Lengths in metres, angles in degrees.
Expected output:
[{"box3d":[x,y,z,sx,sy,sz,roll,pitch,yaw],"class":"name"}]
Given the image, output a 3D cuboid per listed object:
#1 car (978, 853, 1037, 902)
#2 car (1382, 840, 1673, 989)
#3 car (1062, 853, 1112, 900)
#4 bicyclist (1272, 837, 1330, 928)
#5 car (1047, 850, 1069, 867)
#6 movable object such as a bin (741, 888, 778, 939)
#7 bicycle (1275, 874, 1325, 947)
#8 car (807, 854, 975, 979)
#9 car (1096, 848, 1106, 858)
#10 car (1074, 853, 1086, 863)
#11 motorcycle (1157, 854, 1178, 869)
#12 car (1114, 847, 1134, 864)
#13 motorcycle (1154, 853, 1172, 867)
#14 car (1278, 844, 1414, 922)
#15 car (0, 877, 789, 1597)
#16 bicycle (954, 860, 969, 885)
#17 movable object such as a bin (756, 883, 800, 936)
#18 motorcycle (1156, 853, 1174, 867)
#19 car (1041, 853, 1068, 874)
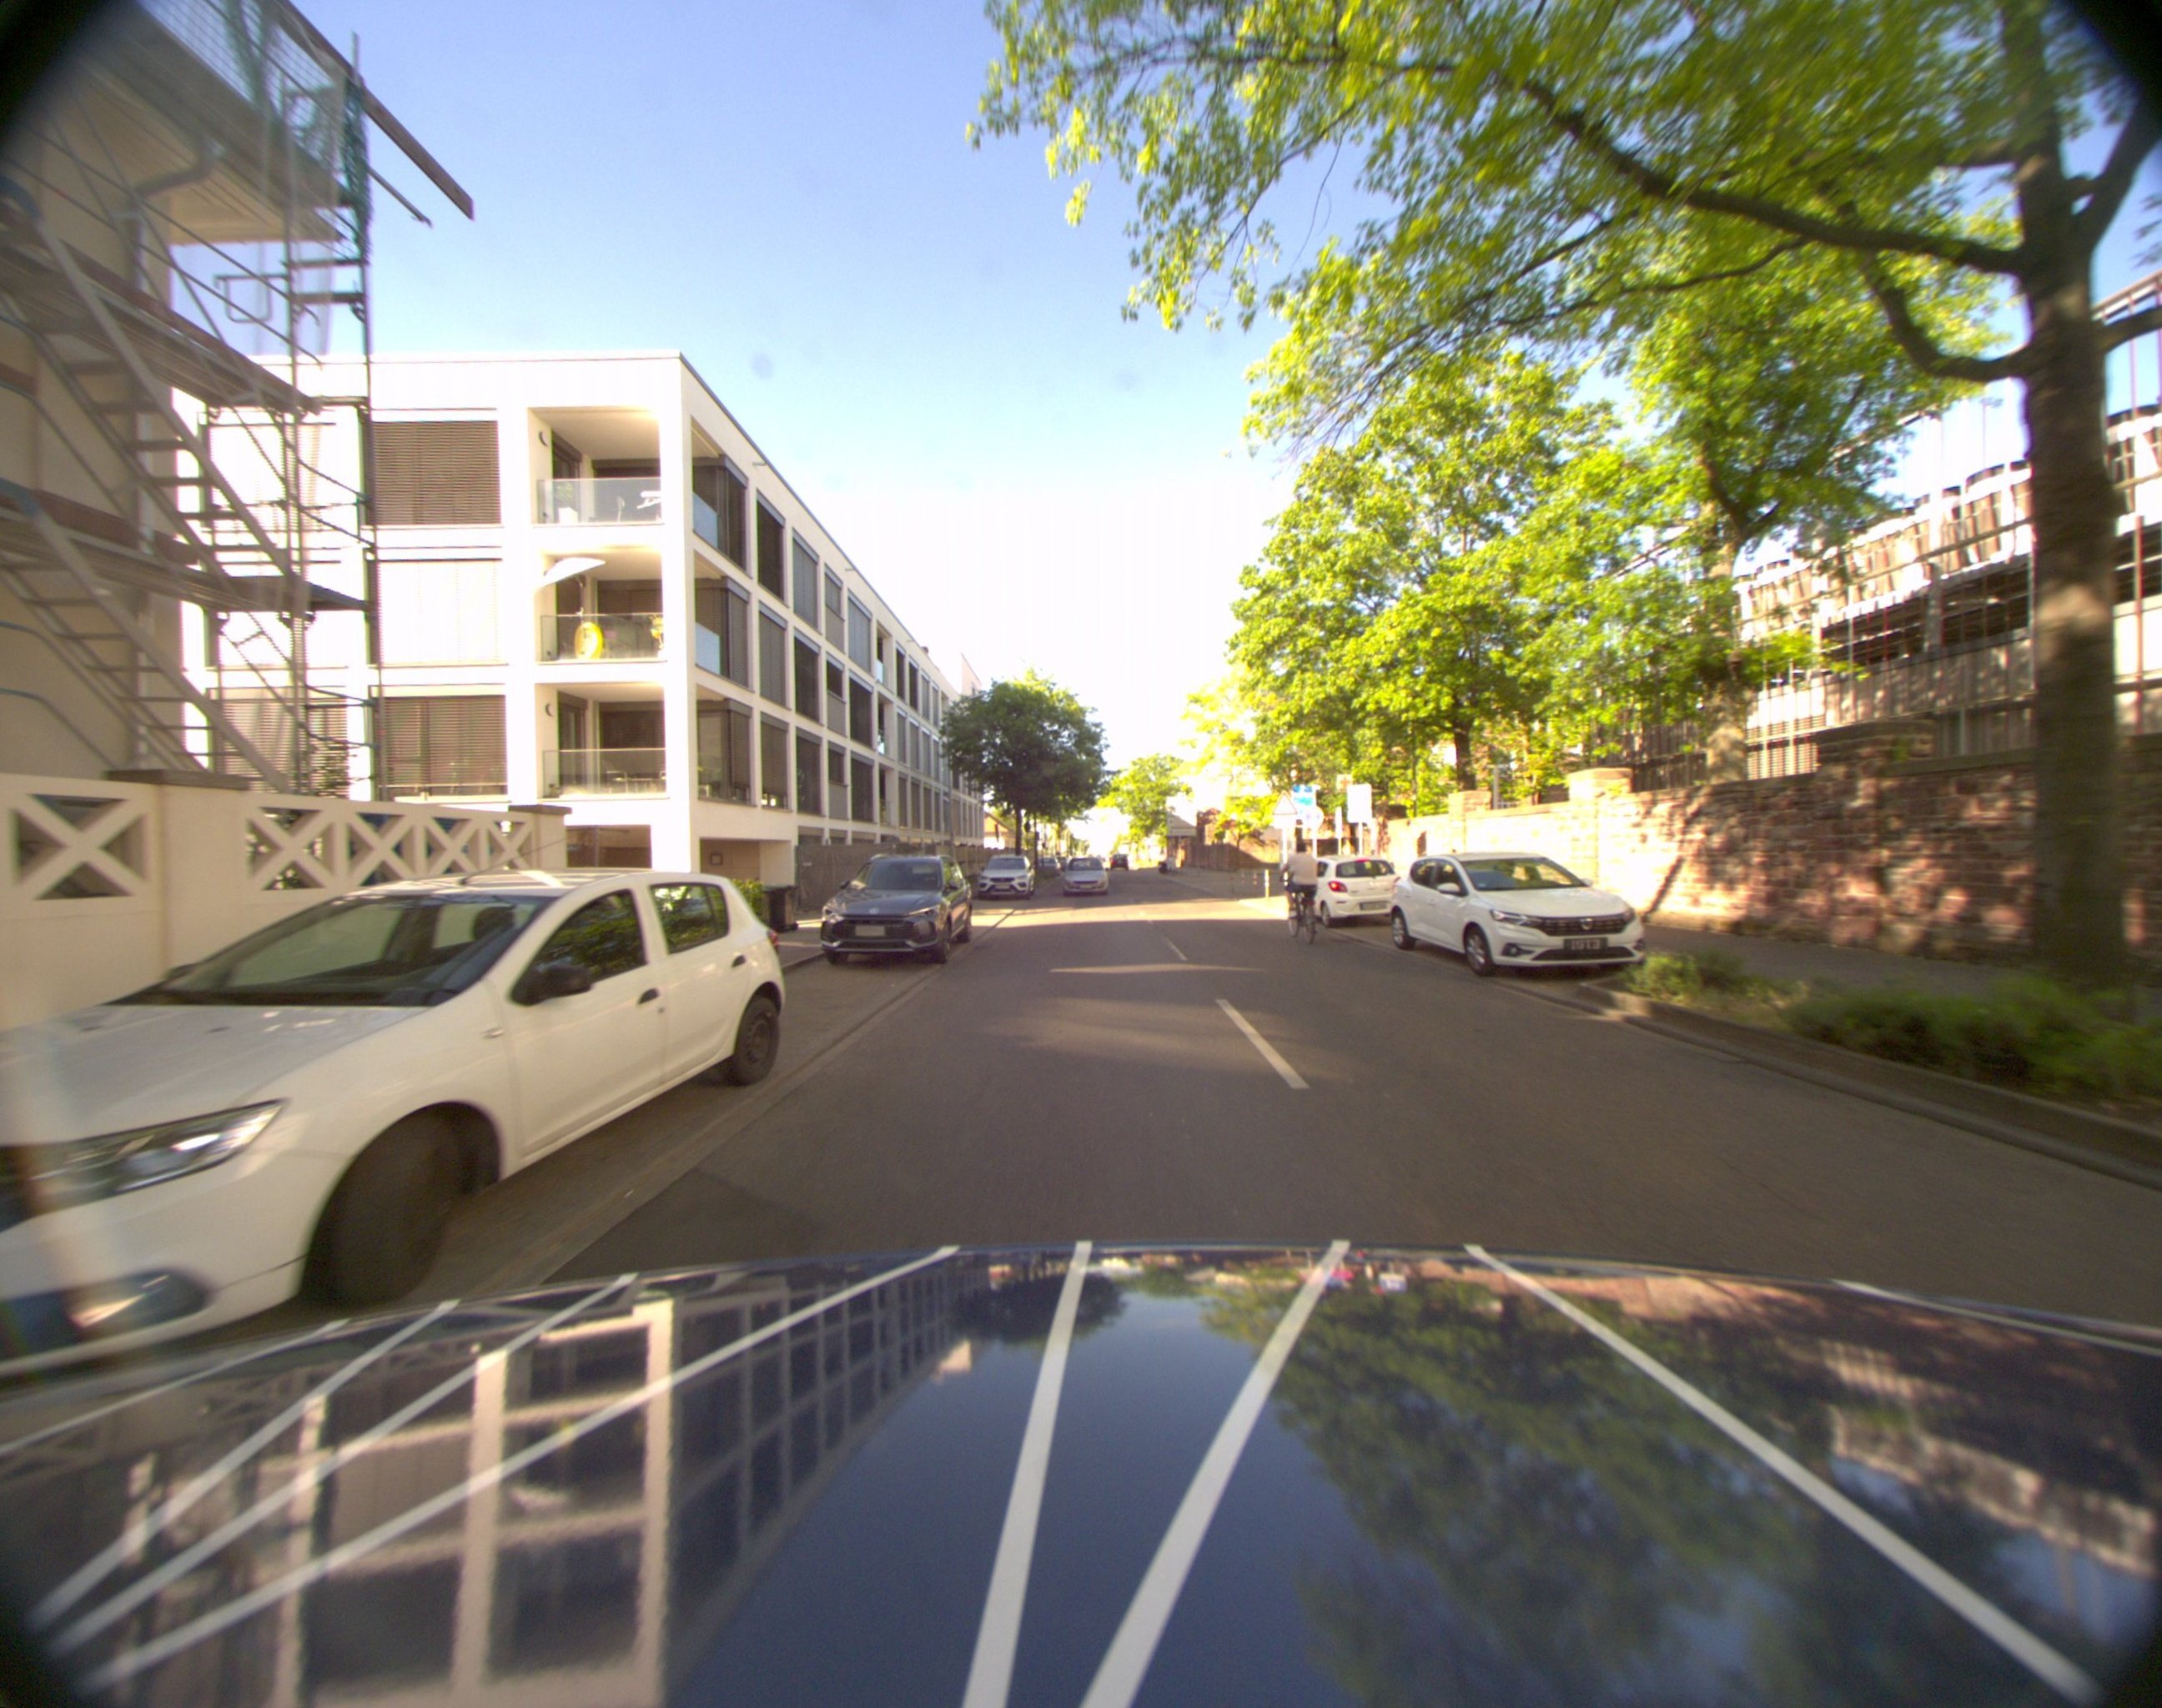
[{"box3d":[-2.665,0.800,28.384,1.797,1.606,4.126,-3,1,-1],"class":"car"},{"box3d":[5.622,0.643,10.208,1.680,1.502,3.849,-4,0,2],"class":"car"},{"box3d":[0.287,0.825,29.861,1.747,1.613,4.106,-3,1,2],"class":"car"},{"box3d":[3.864,0.481,13.398,0.722,1.514,1.005,-3,1,4],"class":"bicyclist"},{"box3d":[-2.356,0.417,78.715,1.887,1.592,4.298,-2,0,1],"class":"car"},{"box3d":[-6.426,1.187,15.205,0.435,0.958,0.511,-3,1,5],"class":"movable object such as a bin"},{"box3d":[3.827,0.955,13.398,0.358,1.114,1.866,-3,1,2],"class":"bicycle"},{"box3d":[-2.889,0.860,12.531,1.716,1.629,4.302,-1,1,-1],"class":"car"},{"box3d":[3.686,-0.159,140.398,1.834,1.733,3.999,-3,1,1],"class":"car"},{"box3d":[-0.106,0.636,117.342,1.757,1.459,3.485,-3,1,0],"class":"car"},{"box3d":[6.453,0.569,56.668,0.599,1.026,2.132,-1,0,35],"class":"motorcycle"},{"box3d":[4.128,0.113,73.841,1.648,1.602,4.020,0,0,-1],"class":"car"},{"box3d":[6.633,0.474,61.128,0.530,1.033,2.095,-2,1,32],"class":"motorcycle"},{"box3d":[5.653,0.548,16.691,1.578,1.394,3.750,-5,1,0],"class":"car"},{"box3d":[-3.196,0.938,3.773,1.727,1.501,3.992,0,0,4],"class":"car"},{"box3d":[-5.474,0.828,34.822,0.337,1.035,1.831,-2,1,0],"class":"bicycle"},{"box3d":[-6.287,1.148,15.778,0.599,1.021,0.564,-3,1,4],"class":"movable object such as a bin"},{"box3d":[6.600,0.470,59.573,0.530,1.033,2.095,-2,1,32],"class":"motorcycle"},{"box3d":[-1.922,0.689,57.069,1.724,1.402,4.763,-2,0,1],"class":"car"}]
